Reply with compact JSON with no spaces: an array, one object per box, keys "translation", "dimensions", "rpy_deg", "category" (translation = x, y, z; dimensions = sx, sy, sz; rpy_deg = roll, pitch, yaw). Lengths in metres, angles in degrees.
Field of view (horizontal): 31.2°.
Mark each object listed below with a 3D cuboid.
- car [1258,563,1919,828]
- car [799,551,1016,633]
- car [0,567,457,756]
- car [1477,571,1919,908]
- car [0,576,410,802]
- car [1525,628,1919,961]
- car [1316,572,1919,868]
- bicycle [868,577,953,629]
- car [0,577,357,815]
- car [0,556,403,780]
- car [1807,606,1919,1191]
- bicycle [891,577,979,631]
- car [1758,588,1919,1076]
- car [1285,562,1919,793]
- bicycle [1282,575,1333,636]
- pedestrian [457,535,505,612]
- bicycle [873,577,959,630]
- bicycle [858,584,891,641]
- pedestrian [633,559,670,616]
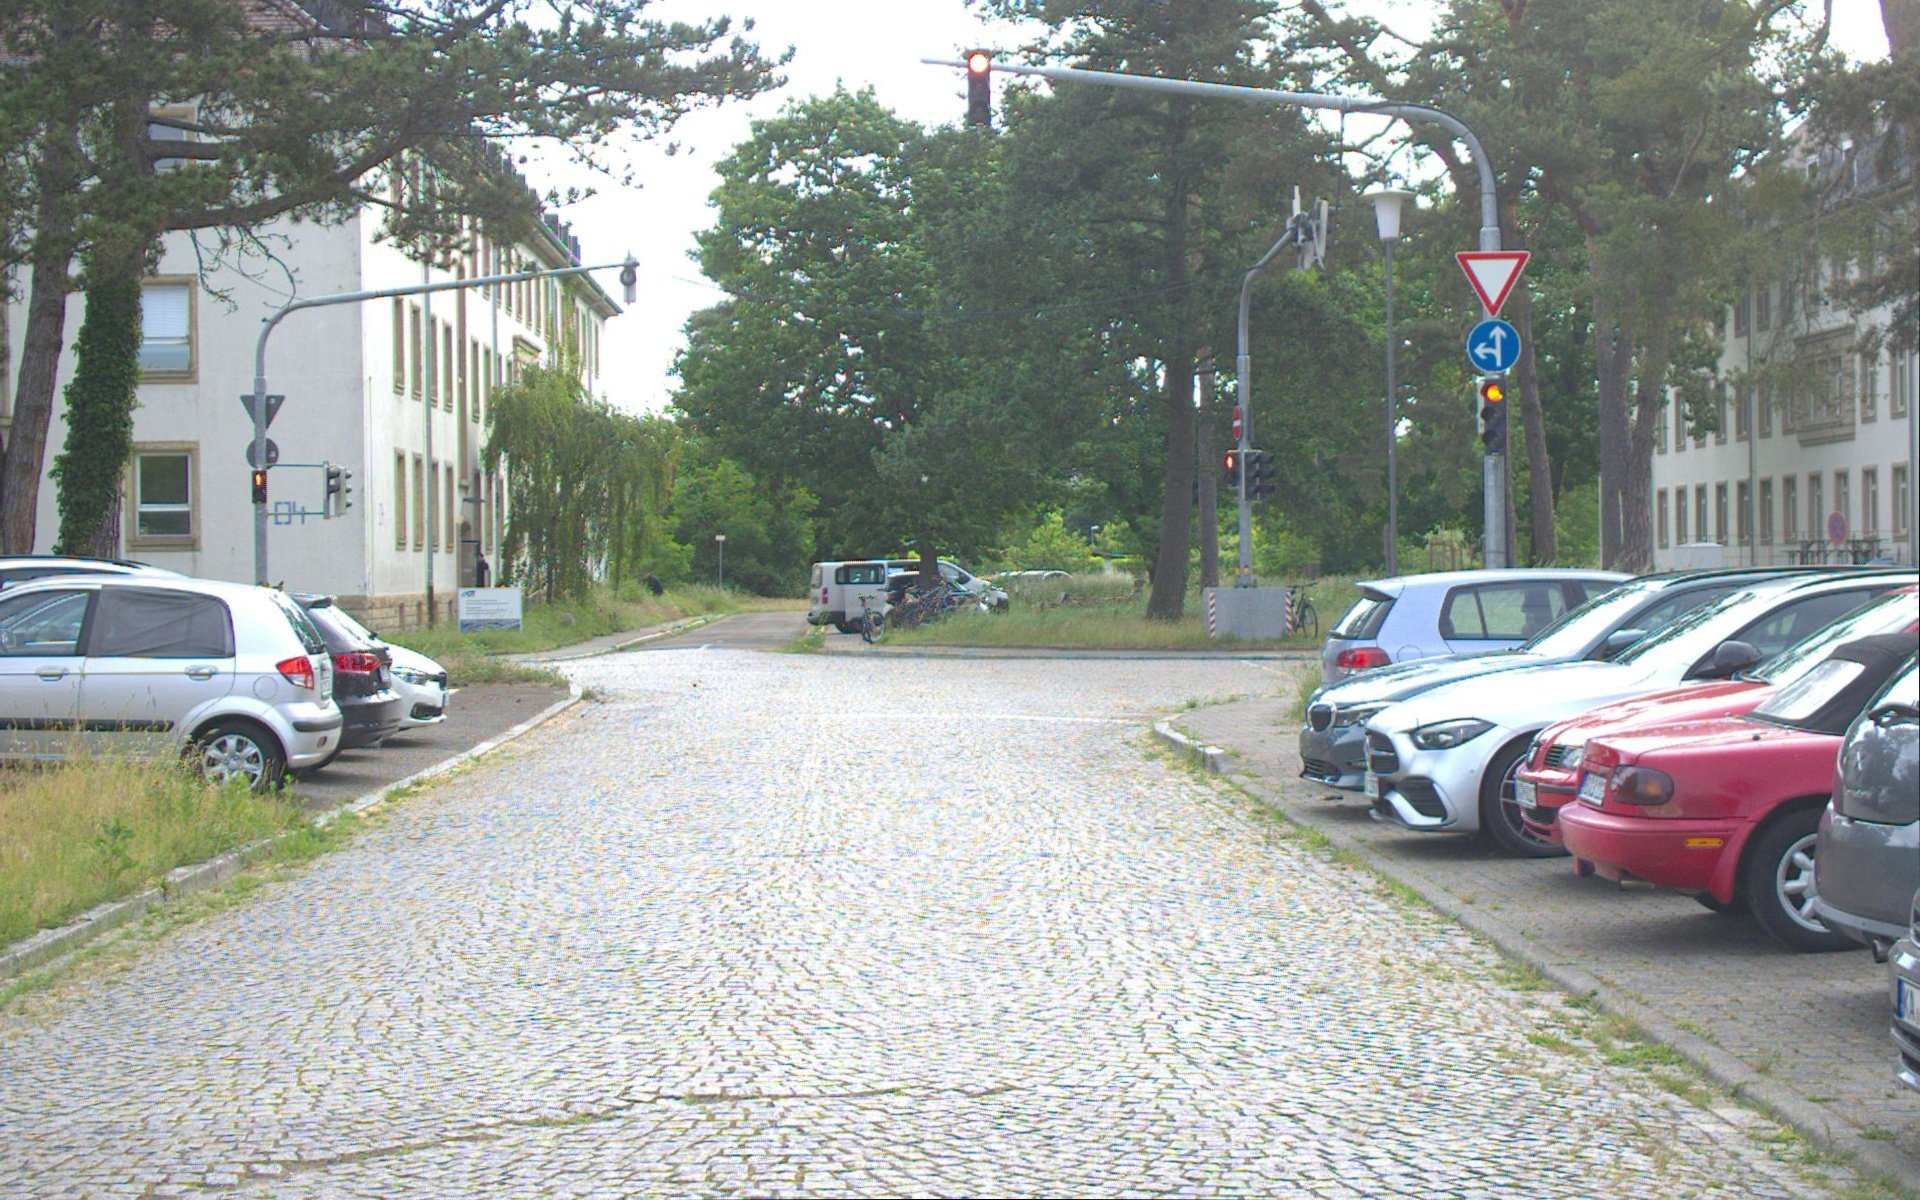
[{"translation":[4.170,0.552,21.656],"dimensions":[4.227,1.474,1.710],"rpy_deg":[-2,1,-12],"category":"car"},{"translation":[-1.399,-0.230,91.032],"dimensions":[5.374,2.094,2.179],"rpy_deg":[-1,1,-13],"category":"car"},{"translation":[-6.727,0.527,30.913],"dimensions":[4.297,1.548,1.812],"rpy_deg":[-1,1,-7],"category":"car"},{"translation":[4.706,0.603,16.537],"dimensions":[4.104,1.471,1.685],"rpy_deg":[-1,1,-3],"category":"car"},{"translation":[-6.333,0.651,25.661],"dimensions":[4.297,1.548,1.812],"rpy_deg":[-1,1,-7],"category":"car"},{"translation":[4.271,0.742,14.186],"dimensions":[3.586,1.218,1.628],"rpy_deg":[-1,1,0],"category":"car"},{"translation":[4.229,0.603,18.890],"dimensions":[4.184,1.432,1.756],"rpy_deg":[-1,1,-8],"category":"car"},{"translation":[-1.155,0.067,79.728],"dimensions":[1.881,1.167,0.665],"rpy_deg":[1,0,-7],"category":"bicycle"},{"translation":[-6.032,0.603,23.070],"dimensions":[3.720,1.476,1.673],"rpy_deg":[2,0,-4],"category":"car"},{"translation":[-6.846,0.550,28.456],"dimensions":[4.297,1.726,1.653],"rpy_deg":[-1,1,-6],"category":"car"},{"translation":[4.446,0.707,8.694],"dimensions":[4.130,1.442,1.766],"rpy_deg":[-1,1,-1],"category":"car"},{"translation":[-0.551,0.096,76.243],"dimensions":[1.881,1.167,0.665],"rpy_deg":[1,0,-7],"category":"bicycle"},{"translation":[4.668,0.681,11.567],"dimensions":[3.505,1.482,1.743],"rpy_deg":[-1,1,-2],"category":"car"},{"translation":[4.504,0.511,24.217],"dimensions":[4.134,1.458,1.634],"rpy_deg":[-1,1,-6],"category":"car"},{"translation":[6.169,0.092,61.108],"dimensions":[0.663,1.047,1.888],"rpy_deg":[1,1,-1],"category":"bicycle"},{"translation":[-12.323,-0.676,88.506],"dimensions":[1.074,1.952,1.121],"rpy_deg":[1,0,-1],"category":"pedestrian"},{"translation":[-1.014,0.074,78.778],"dimensions":[1.881,1.167,0.665],"rpy_deg":[1,0,-7],"category":"bicycle"},{"translation":[-1.783,0.247,71.583],"dimensions":[0.663,1.167,1.888],"rpy_deg":[1,0,-1],"category":"bicycle"},{"translation":[-10.799,-0.449,120.332],"dimensions":[1.239,1.952,1.121],"rpy_deg":[1,0,-6],"category":"pedestrian"}]
